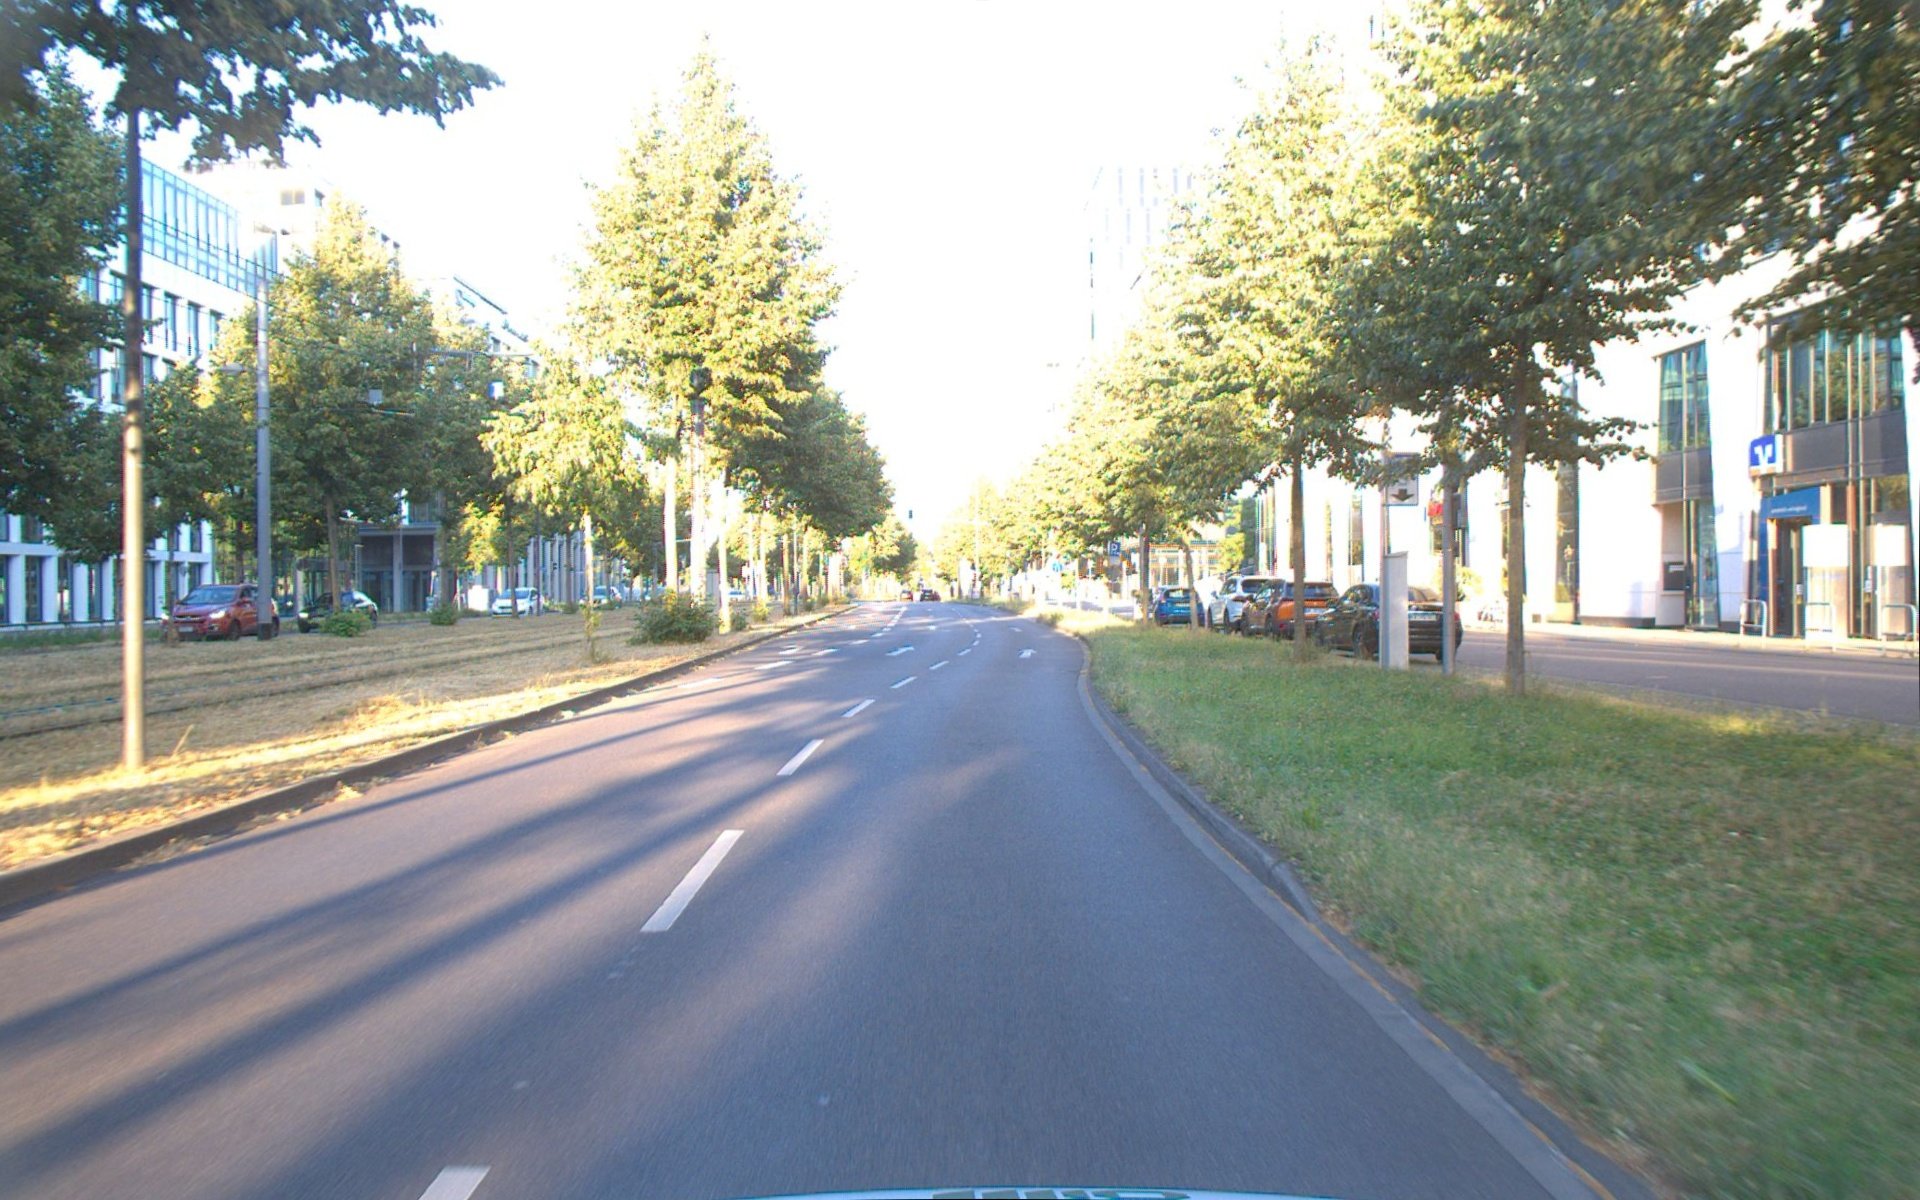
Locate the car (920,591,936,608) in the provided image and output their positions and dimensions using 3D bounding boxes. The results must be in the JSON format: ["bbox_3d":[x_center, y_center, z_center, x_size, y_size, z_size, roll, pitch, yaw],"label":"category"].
[{"bbox_3d":[-3.901,-0.091,200.561,1.953,2.049,3.999,0,1,-2],"label":"car"}]

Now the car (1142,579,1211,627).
[{"bbox_3d":[7.444,0.080,57.112,1.689,1.556,4.267,1,0,-2],"label":"car"}]

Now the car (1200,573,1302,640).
[{"bbox_3d":[8.006,0.159,46.018,1.911,1.744,5.158,1,0,0],"label":"car"}]

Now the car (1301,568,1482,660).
[{"bbox_3d":[8.023,0.230,31.241,1.905,1.576,4.809,-1,0,-3],"label":"car"}]

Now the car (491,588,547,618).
[{"bbox_3d":[-20.862,0.110,78.395,1.624,1.355,4.527,-1,0,-3],"label":"car"}]

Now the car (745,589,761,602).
[{"bbox_3d":[-26.094,-0.596,208.445,1.693,1.617,3.513,-1,0,-2],"label":"car"}]

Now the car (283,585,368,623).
[{"bbox_3d":[-23.636,0.129,61.797,1.624,1.355,4.471,-1,0,-3],"label":"car"}]

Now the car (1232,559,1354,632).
[{"bbox_3d":[7.658,-0.114,38.471,1.817,1.556,4.481,1,0,-2],"label":"car"}]

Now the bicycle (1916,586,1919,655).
[{"bbox_3d":[15.092,0.320,24.498,0.639,1.057,2.055,-1,0,-1],"label":"bicycle"}]

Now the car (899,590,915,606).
[{"bbox_3d":[-6.862,-0.248,215.784,2.045,2.049,3.999,0,1,-2],"label":"car"}]

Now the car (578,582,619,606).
[{"bbox_3d":[-21.704,-0.358,99.381,1.624,1.355,4.739,-1,0,-3],"label":"car"}]

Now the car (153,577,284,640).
[{"bbox_3d":[-20.273,0.211,45.406,1.847,1.605,4.180,-1,0,-3],"label":"car"}]

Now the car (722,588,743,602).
[{"bbox_3d":[-23.089,-0.494,168.076,1.751,1.355,3.670,-1,0,-3],"label":"car"}]

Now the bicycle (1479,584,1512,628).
[{"bbox_3d":[14.556,0.150,45.019,0.558,1.144,1.835,-2,1,10],"label":"bicycle"}]
